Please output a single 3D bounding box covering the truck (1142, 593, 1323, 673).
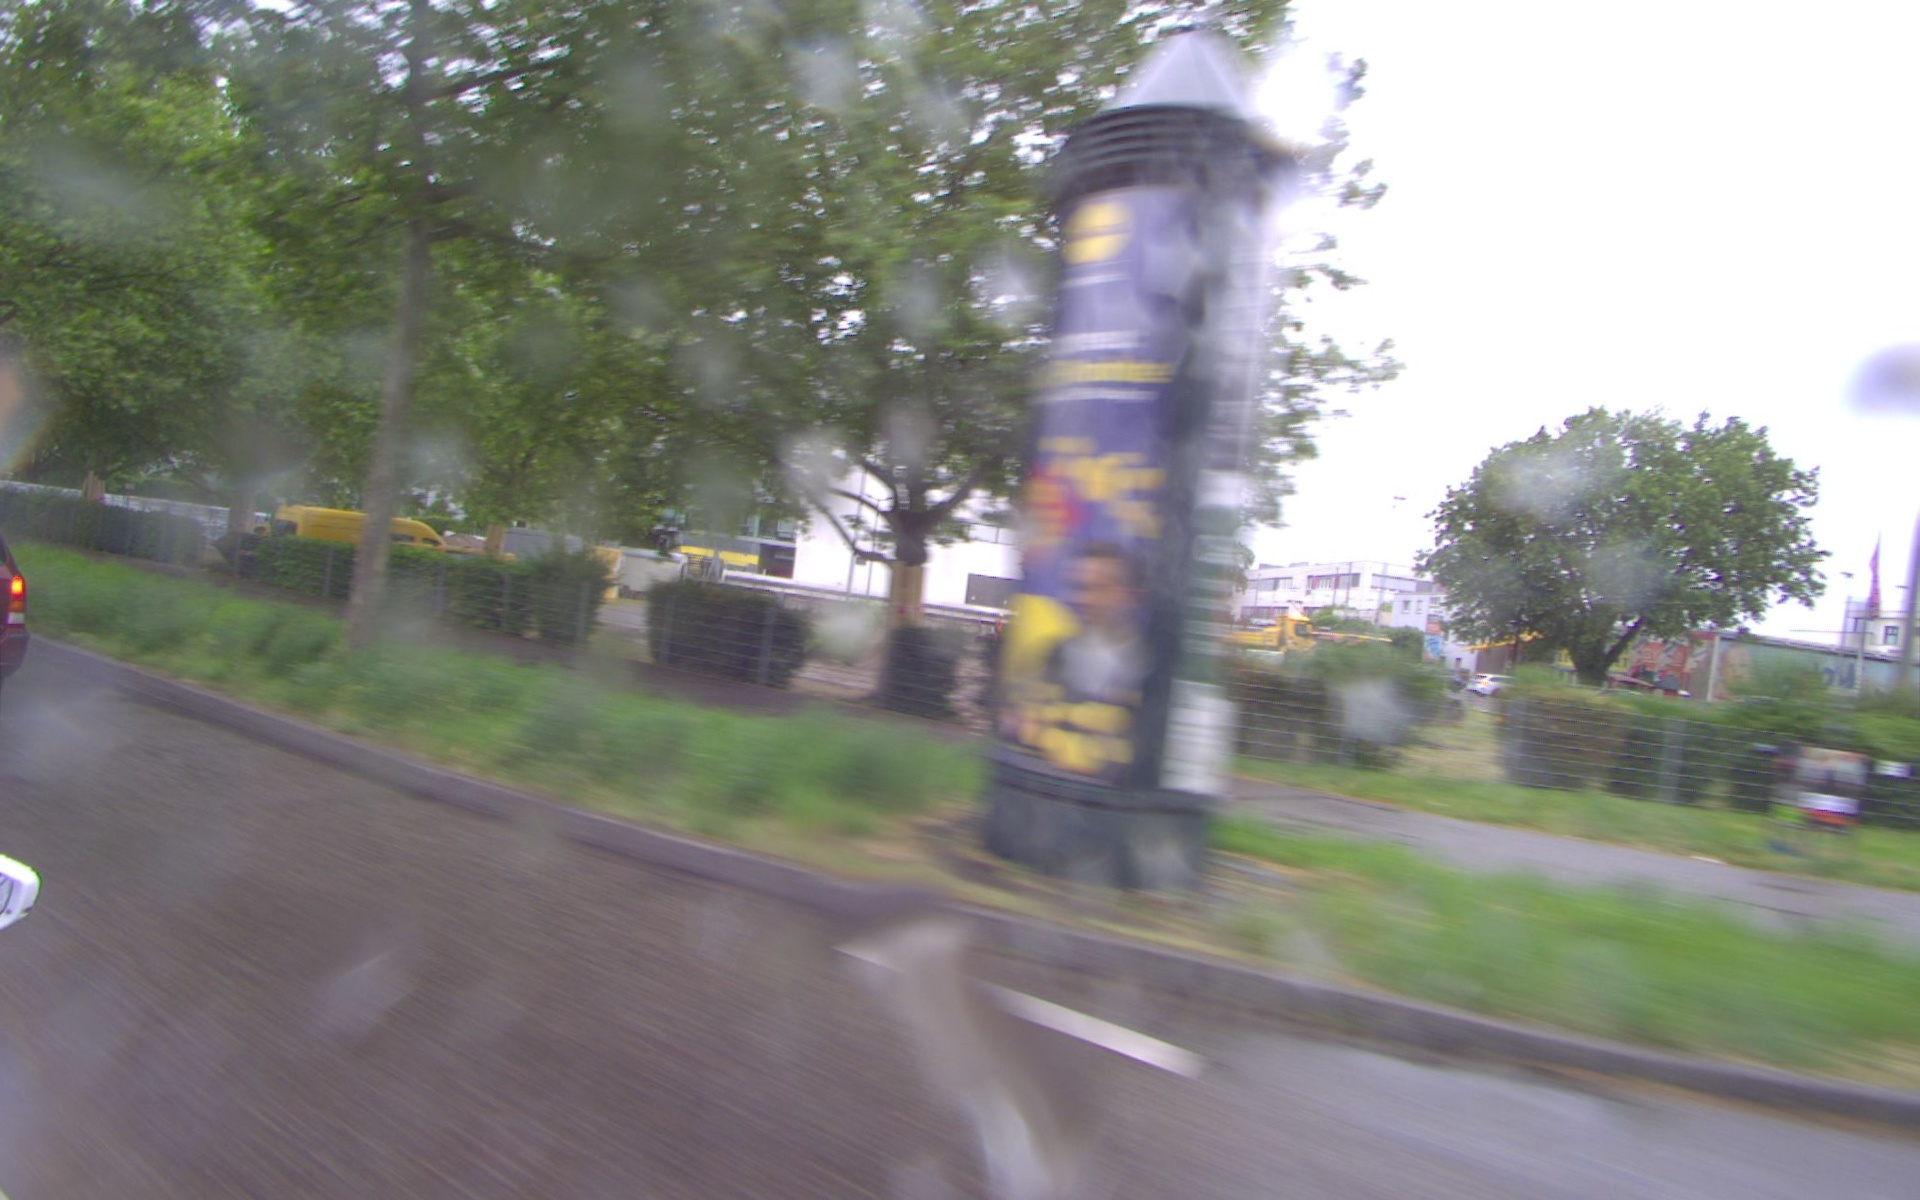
[{"bbox_3d":[15.330,1.873,56.917,9.300,3.384,2.497,7,-1,-4],"label":"truck"}]

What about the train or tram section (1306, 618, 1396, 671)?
[{"bbox_3d":[29.166,3.276,75.469,2.358,3.560,8.368,7,-2,-7],"label":"train or tram section"}]

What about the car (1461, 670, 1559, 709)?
[{"bbox_3d":[32.166,5.234,58.916,4.538,1.617,1.845,7,0,3],"label":"car"}]

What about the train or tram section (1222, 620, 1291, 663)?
[{"bbox_3d":[27.150,3.759,92.714,2.358,3.560,9.110,7,-2,-7],"label":"train or tram section"}]

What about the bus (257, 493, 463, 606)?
[{"bbox_3d":[-18.141,-1.451,30.645,1.967,2.678,4.800,7,-1,32],"label":"bus"}]

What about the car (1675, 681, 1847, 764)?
[{"bbox_3d":[25.462,3.831,32.206,1.963,2.114,4.233,6,-2,1],"label":"car"}]

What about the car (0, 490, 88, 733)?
[{"bbox_3d":[-8.139,-0.176,7.009,4.043,1.554,1.843,7,-2,31],"label":"car"}]

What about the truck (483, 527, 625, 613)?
[{"bbox_3d":[-18.532,-1.189,46.783,3.026,3.066,9.503,7,-2,-4],"label":"truck"}]

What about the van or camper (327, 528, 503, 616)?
[{"bbox_3d":[-15.601,-0.750,28.998,1.770,1.929,3.998,7,-2,27],"label":"van or camper"}]
